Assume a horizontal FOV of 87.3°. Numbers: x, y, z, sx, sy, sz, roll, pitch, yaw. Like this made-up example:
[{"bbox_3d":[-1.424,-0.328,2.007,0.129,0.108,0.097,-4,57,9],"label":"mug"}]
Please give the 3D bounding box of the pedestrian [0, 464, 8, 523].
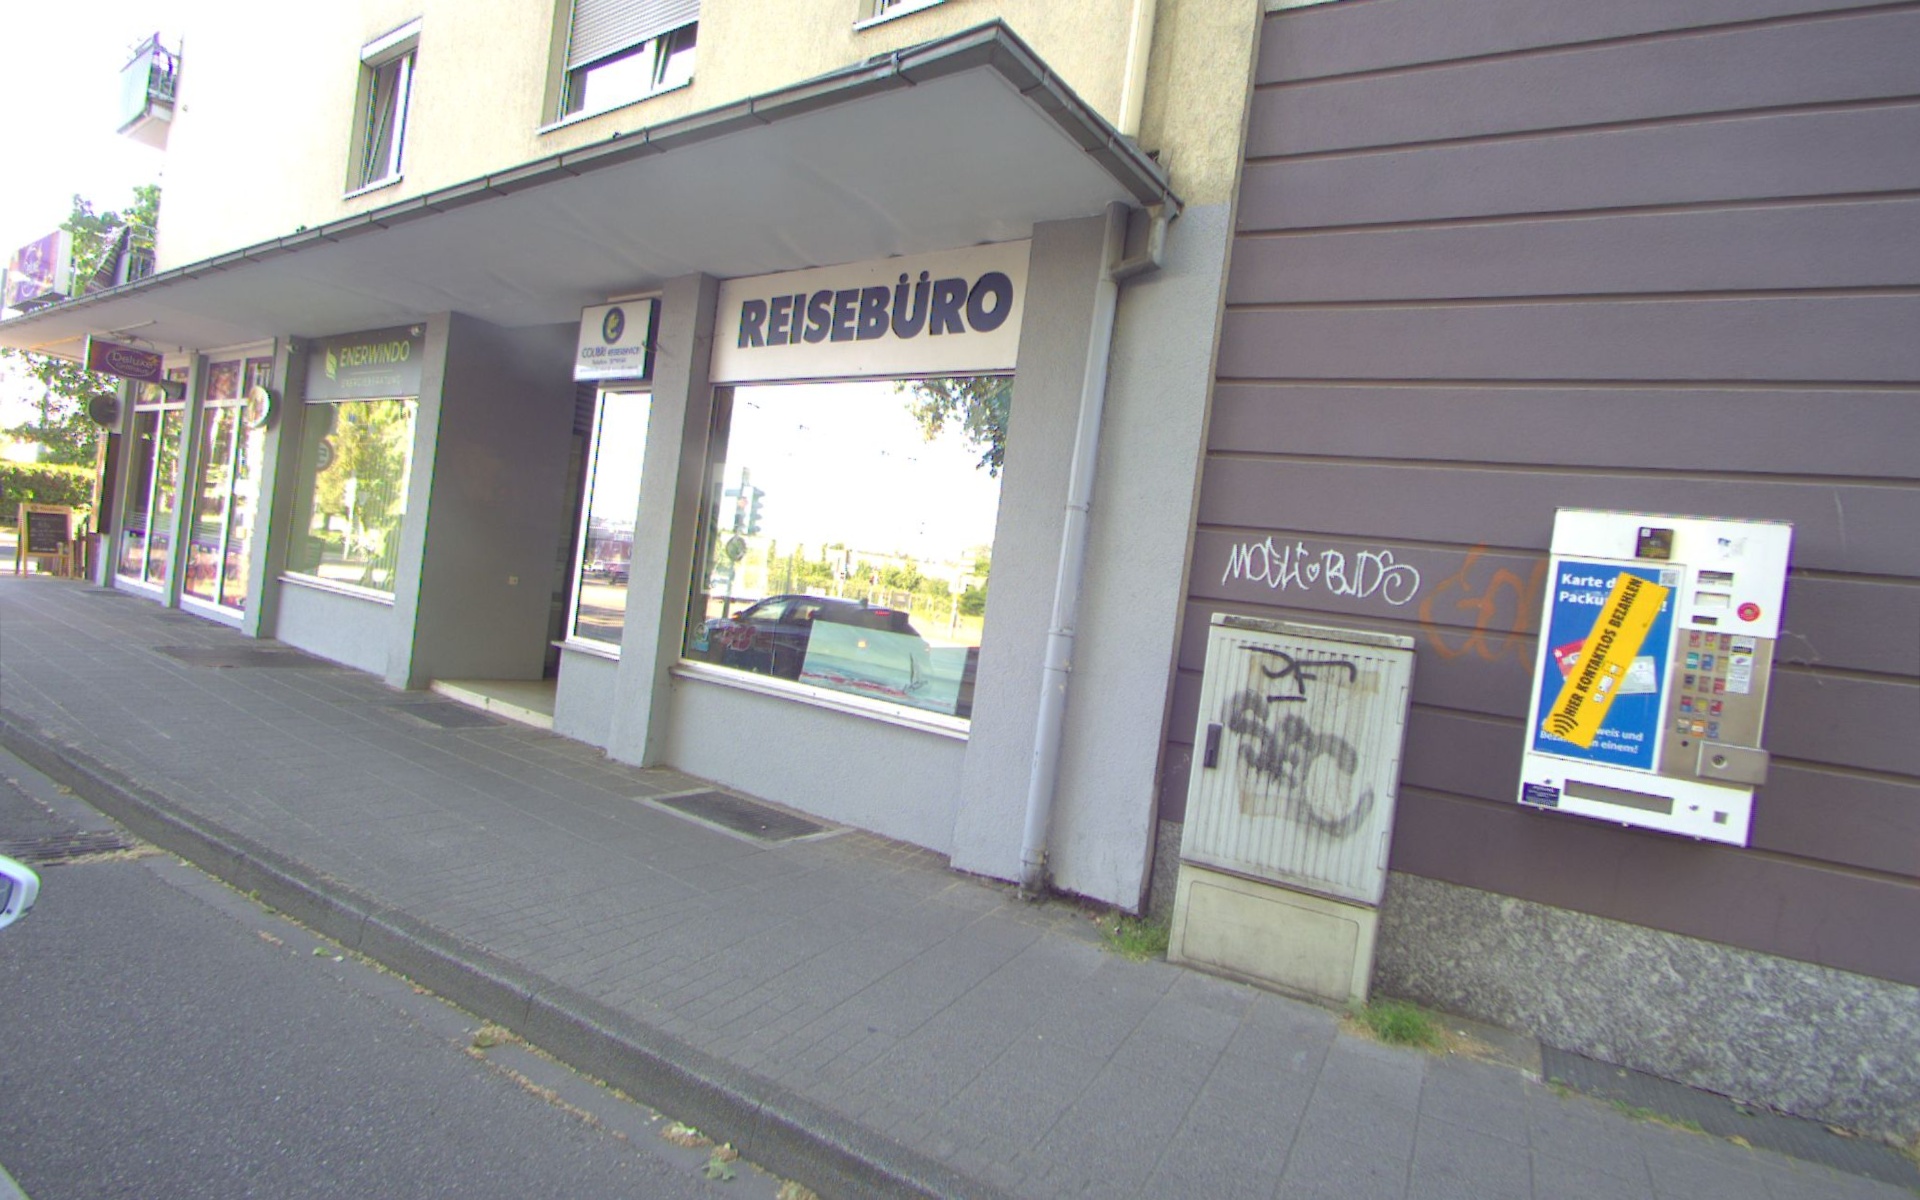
[{"bbox_3d":[-18.996,-1.753,19.428,0.630,1.841,0.738,8,-1,-38],"label":"pedestrian"}]
